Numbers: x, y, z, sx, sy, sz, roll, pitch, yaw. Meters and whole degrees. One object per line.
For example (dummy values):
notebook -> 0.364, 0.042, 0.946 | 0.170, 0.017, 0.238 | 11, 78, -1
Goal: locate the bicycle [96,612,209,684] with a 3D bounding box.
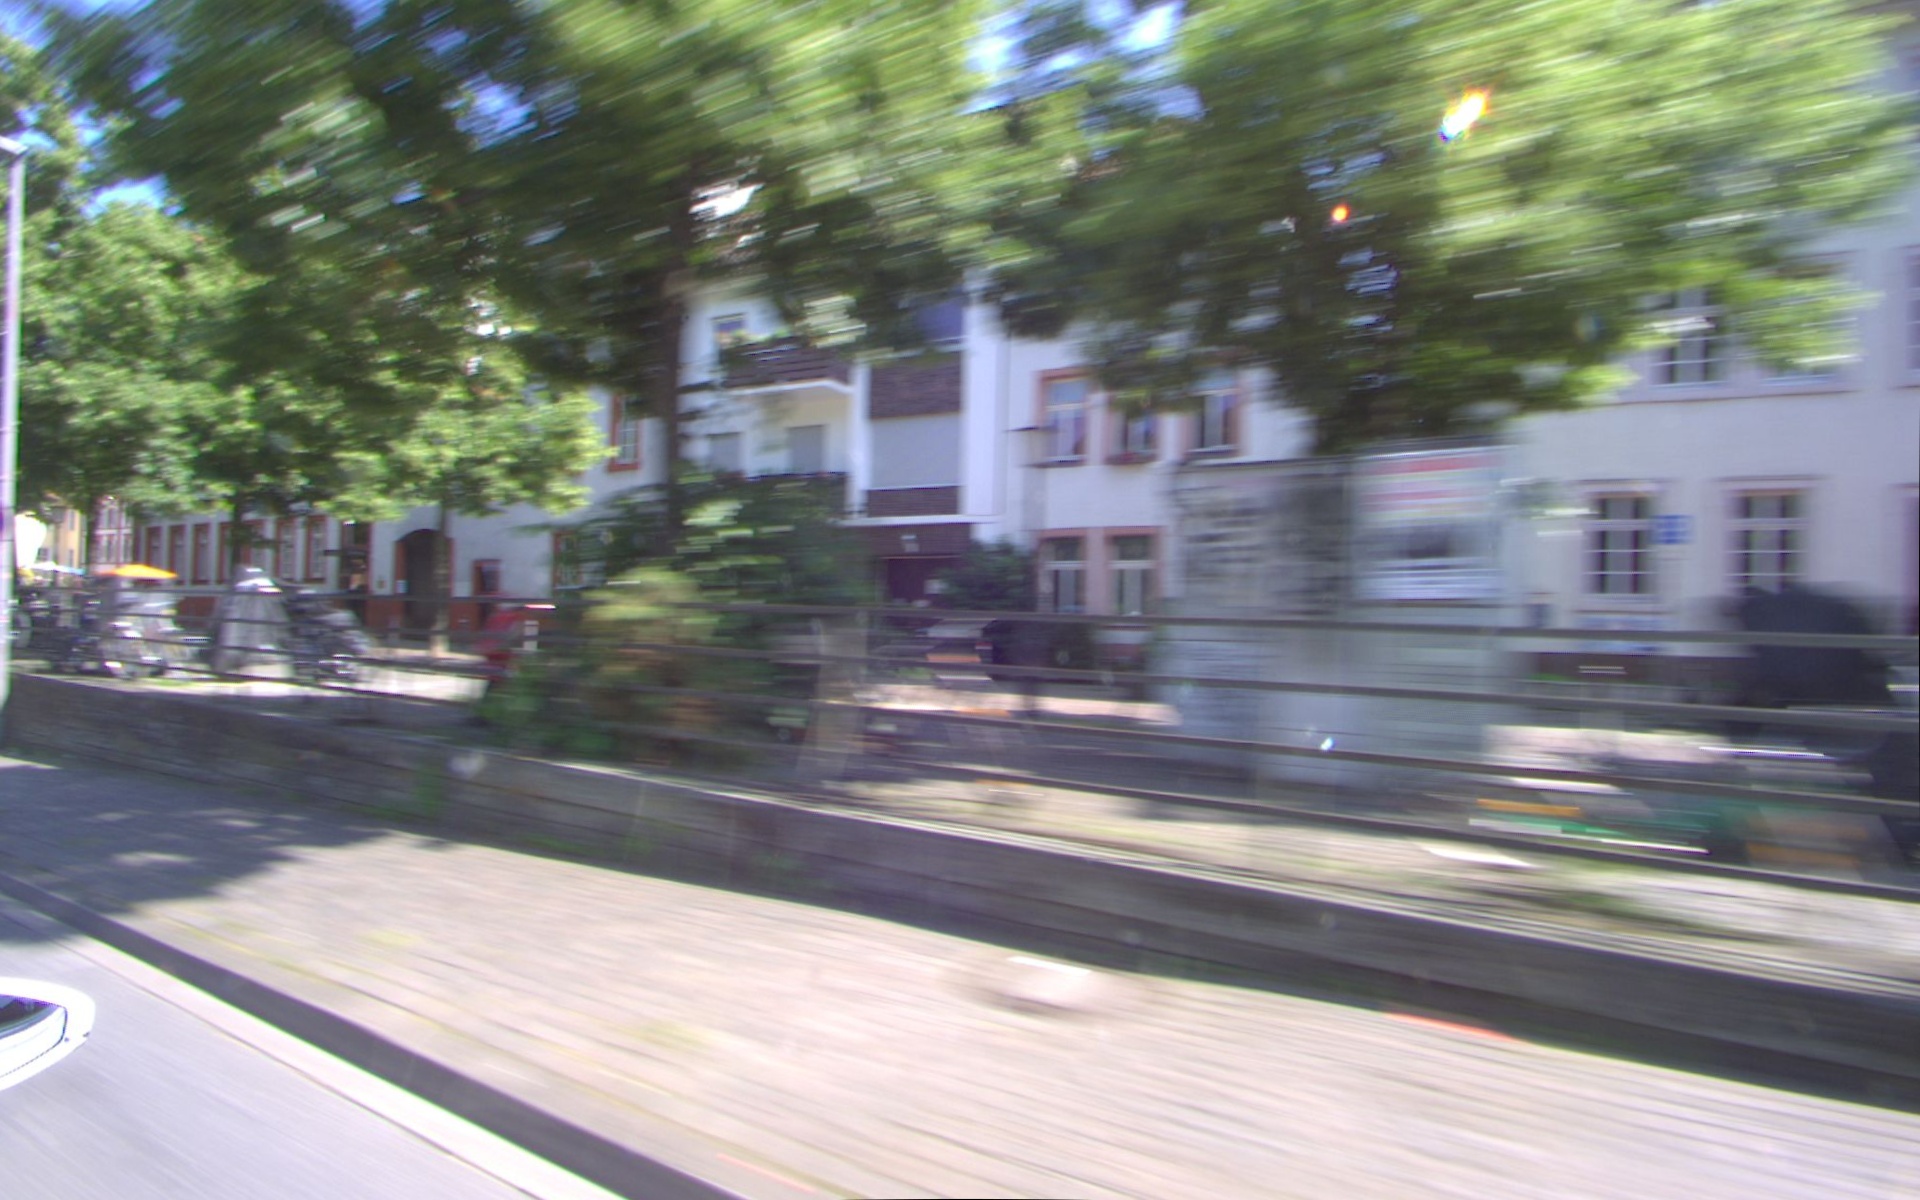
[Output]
bicycle -> -9.399, 0.538, 11.630 | 1.890, 0.794, 0.349 | 0, -1, 30

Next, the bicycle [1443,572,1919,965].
bicycle -> 2.950, 0.554, 3.630 | 2.130, 1.278, 0.474 | -1, 0, 30

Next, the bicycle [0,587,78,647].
bicycle -> -16.288, 0.287, 17.083 | 0.294, 1.017, 1.852 | 1, -1, 29

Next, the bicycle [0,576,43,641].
bicycle -> -17.471, 0.152, 18.389 | 1.905, 1.155, 0.381 | 0, -1, 31

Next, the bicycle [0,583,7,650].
bicycle -> -15.457, 0.248, 15.664 | 1.832, 1.017, 0.297 | 0, -1, 31

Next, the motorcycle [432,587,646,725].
motorcycle -> -3.760, 0.470, 9.137 | 0.565, 1.112, 1.916 | 1, 0, 24

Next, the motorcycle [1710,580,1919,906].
motorcycle -> 4.554, 0.587, 4.891 | 2.131, 1.330, 0.645 | 0, 0, -30

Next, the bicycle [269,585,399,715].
bicycle -> -5.905, 0.451, 9.400 | 1.894, 1.127, 0.343 | -1, -1, 36

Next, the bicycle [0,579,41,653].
bicycle -> -13.771, 0.217, 14.382 | 1.912, 1.017, 0.297 | 0, -1, 31

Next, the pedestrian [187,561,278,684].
pedestrian -> -8.856, 0.275, 12.198 | 0.686, 1.433, 0.666 | 0, -1, 31

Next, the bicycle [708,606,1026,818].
bicycle -> -0.620, 0.582, 5.870 | 2.132, 1.063, 0.300 | 1, 1, 33

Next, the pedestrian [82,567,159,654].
pedestrian -> -12.741, 0.161, 15.203 | 0.659, 1.281, 0.694 | 0, -1, 28

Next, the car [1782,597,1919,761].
car -> 12.481, 0.959, 11.321 | 4.667, 1.824, 1.828 | 2, 0, 33
